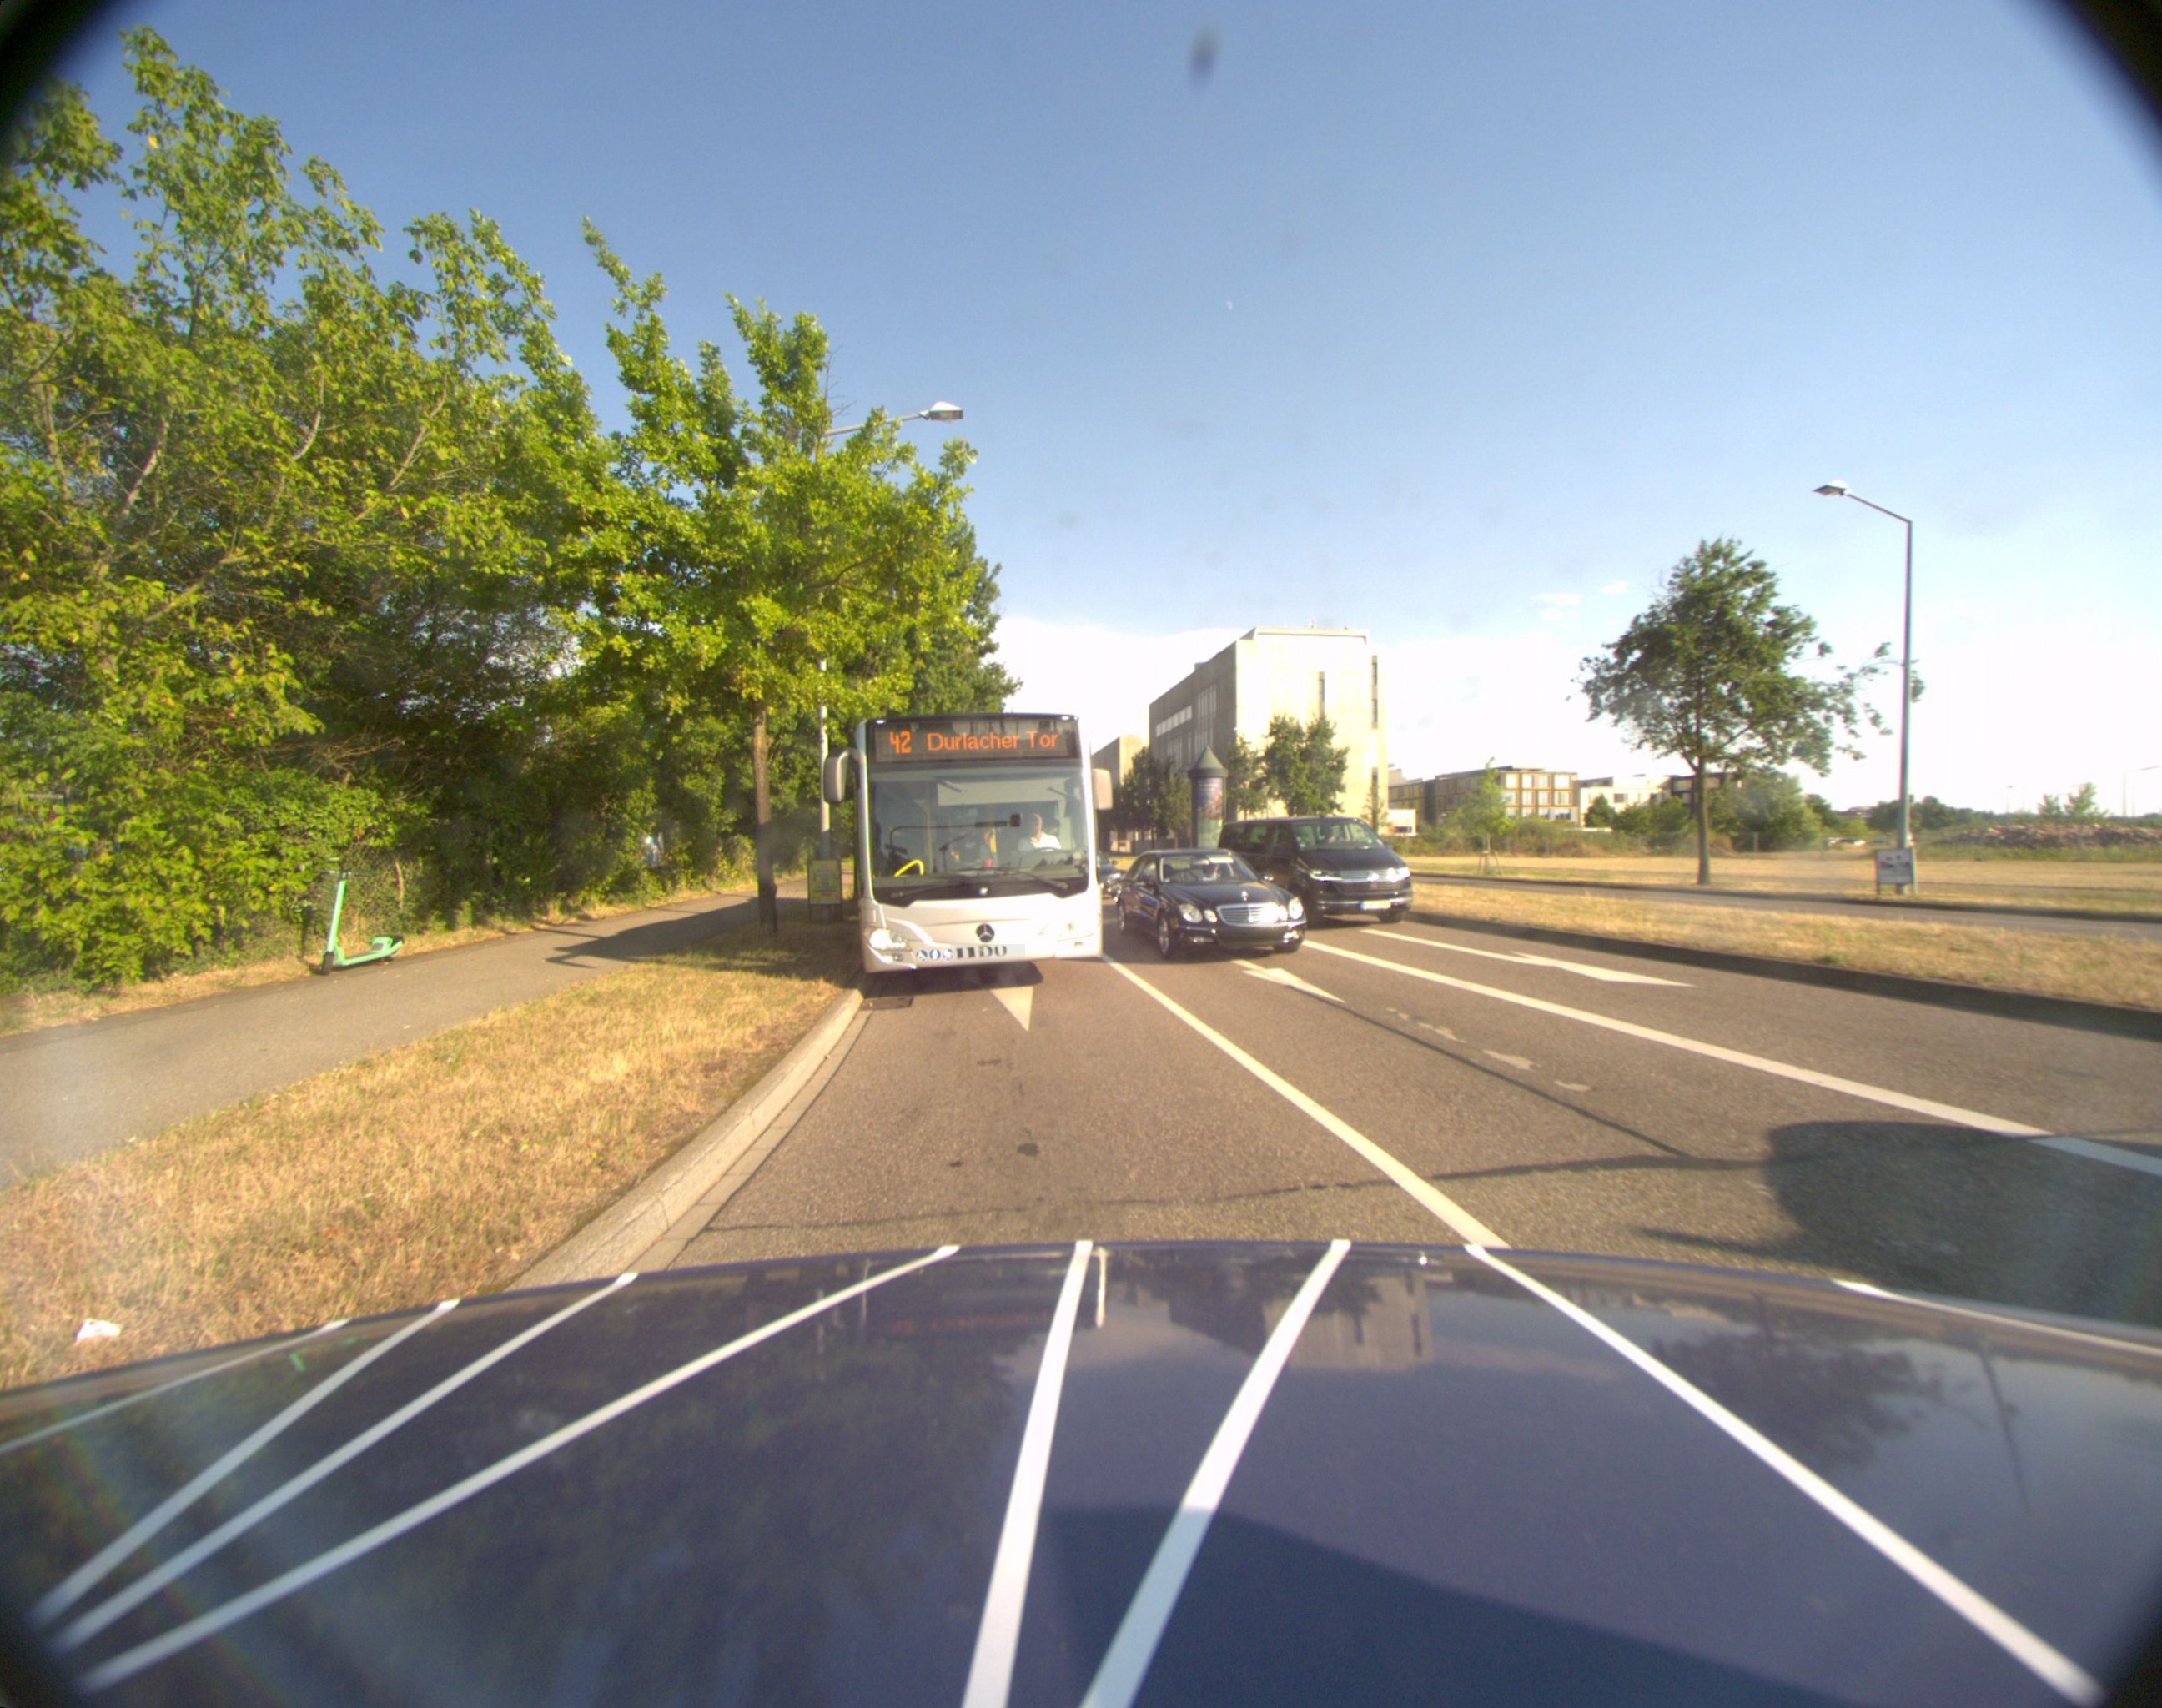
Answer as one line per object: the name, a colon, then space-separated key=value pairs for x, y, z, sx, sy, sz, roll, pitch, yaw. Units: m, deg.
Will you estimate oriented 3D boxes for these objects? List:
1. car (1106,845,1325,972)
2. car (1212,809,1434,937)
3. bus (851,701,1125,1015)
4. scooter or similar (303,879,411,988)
car: x=1.714 y=0.630 z=11.375 sx=1.811 sy=1.428 sz=4.489 roll=-3 pitch=1 yaw=-9
car: x=4.254 y=0.240 z=14.381 sx=1.862 sy=1.921 sz=5.008 roll=-2 pitch=1 yaw=-10
bus: x=-1.834 y=-0.064 z=13.307 sx=2.597 sy=3.025 sz=11.707 roll=-2 pitch=1 yaw=-9
scooter or similar: x=-8.219 y=0.867 z=8.666 sx=0.249 sy=1.120 sz=1.094 roll=2 pitch=1 yaw=-5
